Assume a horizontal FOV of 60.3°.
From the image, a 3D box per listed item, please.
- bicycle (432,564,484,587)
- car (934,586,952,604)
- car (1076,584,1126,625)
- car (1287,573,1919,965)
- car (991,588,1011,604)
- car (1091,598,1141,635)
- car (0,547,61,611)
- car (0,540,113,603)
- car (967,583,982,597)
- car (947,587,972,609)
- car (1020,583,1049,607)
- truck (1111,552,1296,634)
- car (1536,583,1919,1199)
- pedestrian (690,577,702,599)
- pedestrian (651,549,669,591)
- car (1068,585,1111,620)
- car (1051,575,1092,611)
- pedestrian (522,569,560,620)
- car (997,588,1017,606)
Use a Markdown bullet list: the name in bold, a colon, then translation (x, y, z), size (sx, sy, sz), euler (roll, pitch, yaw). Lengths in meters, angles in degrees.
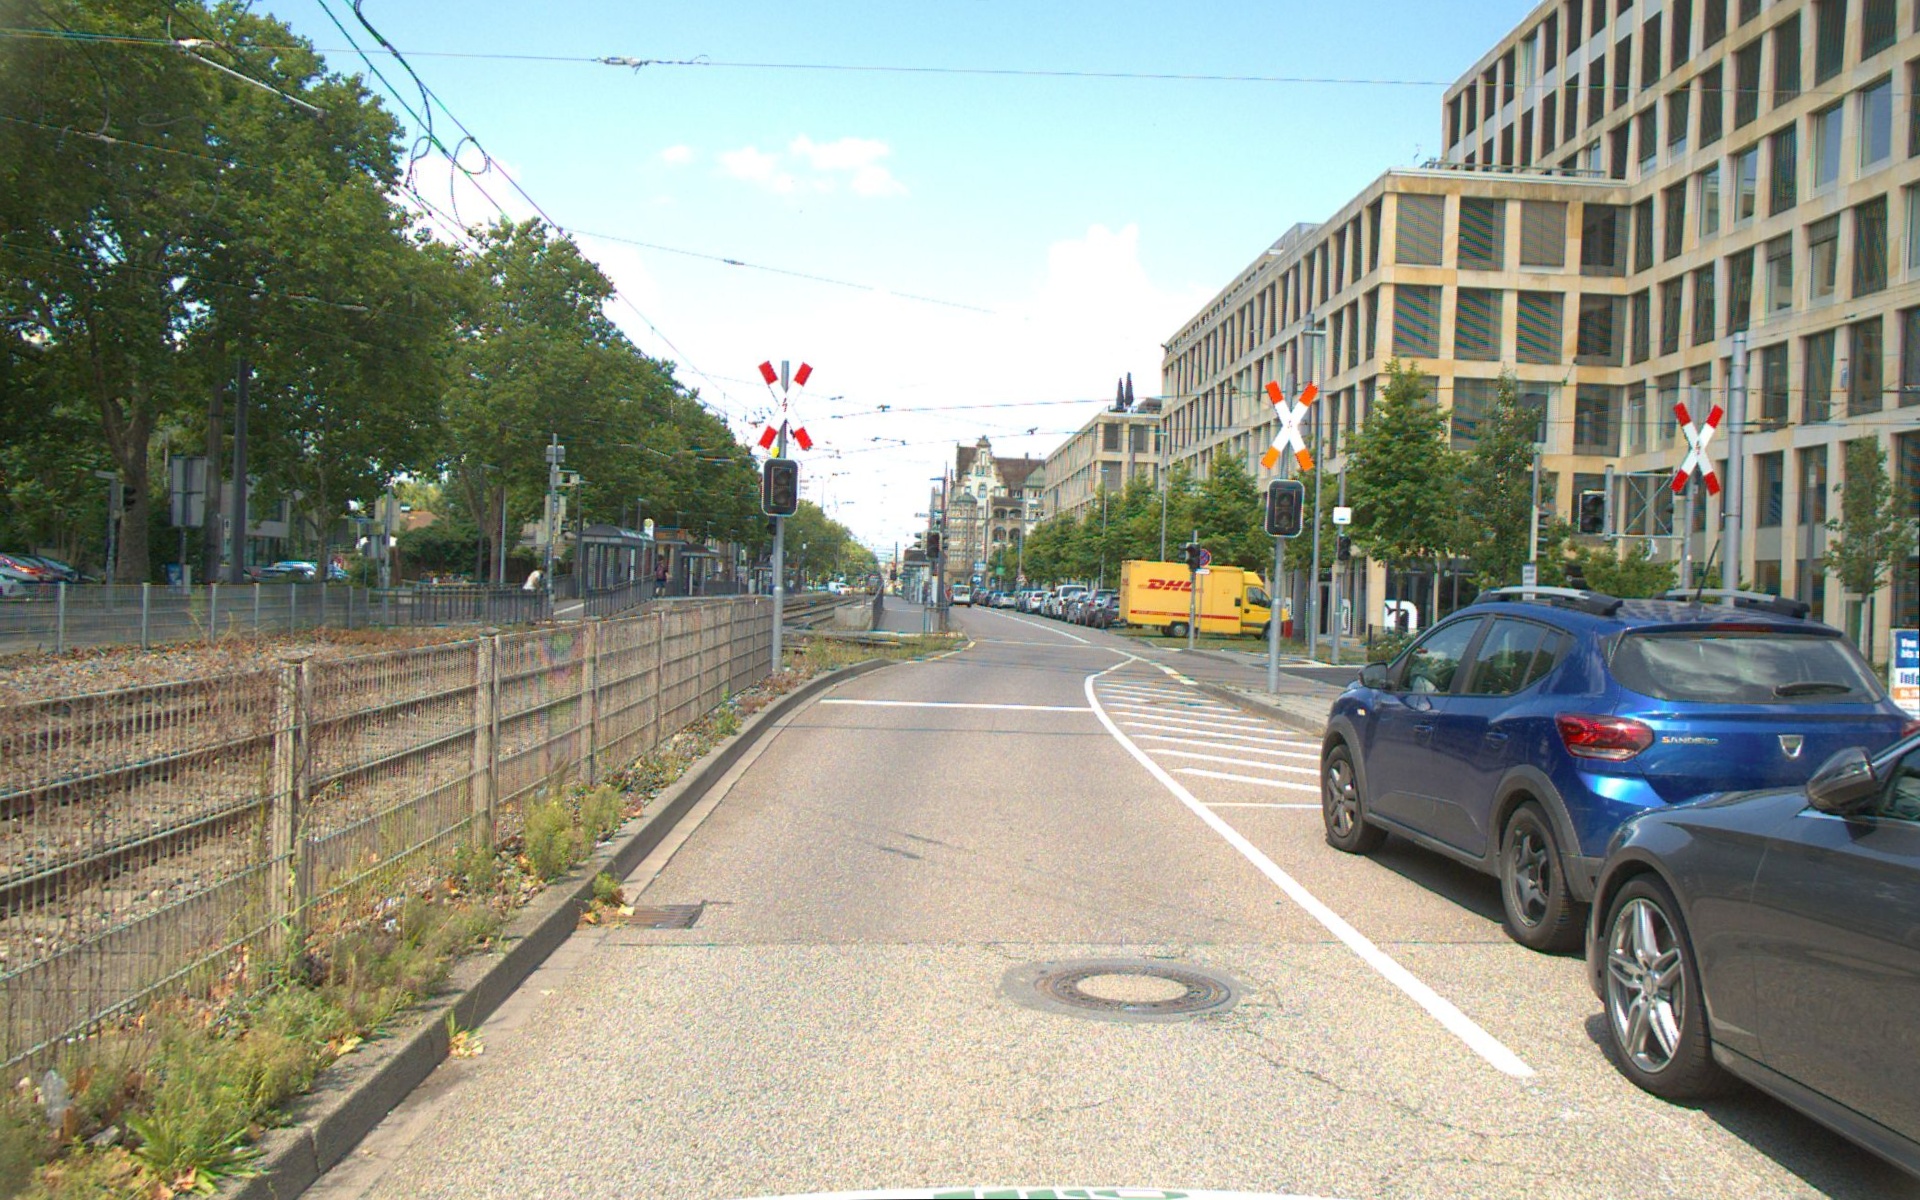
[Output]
- **bicycle**: translation (-31.105, -1.540, 102.459), size (2.976, 1.188, 0.634), euler (5, 0, 2)
- **car**: translation (-1.942, -0.582, 188.757), size (1.953, 2.049, 3.999), euler (0, 0, -2)
- **car**: translation (6.666, 0.181, 78.611), size (1.733, 1.798, 4.838), euler (1, 1, -2)
- **car**: translation (3.195, 0.646, 8.867), size (1.744, 1.567, 4.418), euler (0, 1, -4)
- **car**: translation (3.963, -0.414, 160.154), size (1.560, 1.459, 4.104), euler (3, 1, -4)
- **car**: translation (6.888, 0.703, 73.300), size (1.657, 1.531, 4.066), euler (1, 1, -2)
- **car**: translation (-27.824, -0.618, 46.631), size (3.909, 1.780, 1.802), euler (1, 1, -5)
- **car**: translation (-27.413, -0.855, 48.778), size (3.909, 1.780, 1.802), euler (1, 1, -5)
- **car**: translation (1.650, -1.122, 187.072), size (1.414, 1.495, 4.089), euler (-1, 1, -4)
- **car**: translation (-0.059, -0.202, 140.957), size (1.831, 1.777, 3.998), euler (3, 0, -3)
- **car**: translation (5.216, -0.376, 116.064), size (1.651, 1.634, 4.150), euler (0, 1, -2)
- **truck**: translation (9.379, -0.263, 64.043), size (6.672, 2.917, 2.452), euler (1, 0, -5)
- **car**: translation (3.112, 0.730, 3.645), size (1.780, 1.479, 4.989), euler (0, 1, -2)
- **pedestrian**: translation (-15.609, -0.699, 97.754), size (0.541, 1.291, 0.767), euler (2, 1, -1)
- **pedestrian**: translation (-13.367, -1.322, 73.627), size (0.692, 1.877, 0.864), euler (0, 0, -3)
- **car**: translation (6.515, 0.098, 83.717), size (1.686, 1.648, 3.858), euler (1, 1, -2)
- **car**: translation (6.350, -0.424, 95.006), size (1.844, 1.973, 4.841), euler (0, 1, -2)
- **pedestrian**: translation (-11.341, -0.164, 44.797), size (0.845, 1.367, 0.922), euler (0, 0, -5)
- **car**: translation (4.242, -0.286, 148.631), size (1.559, 1.485, 3.612), euler (3, 1, -1)
